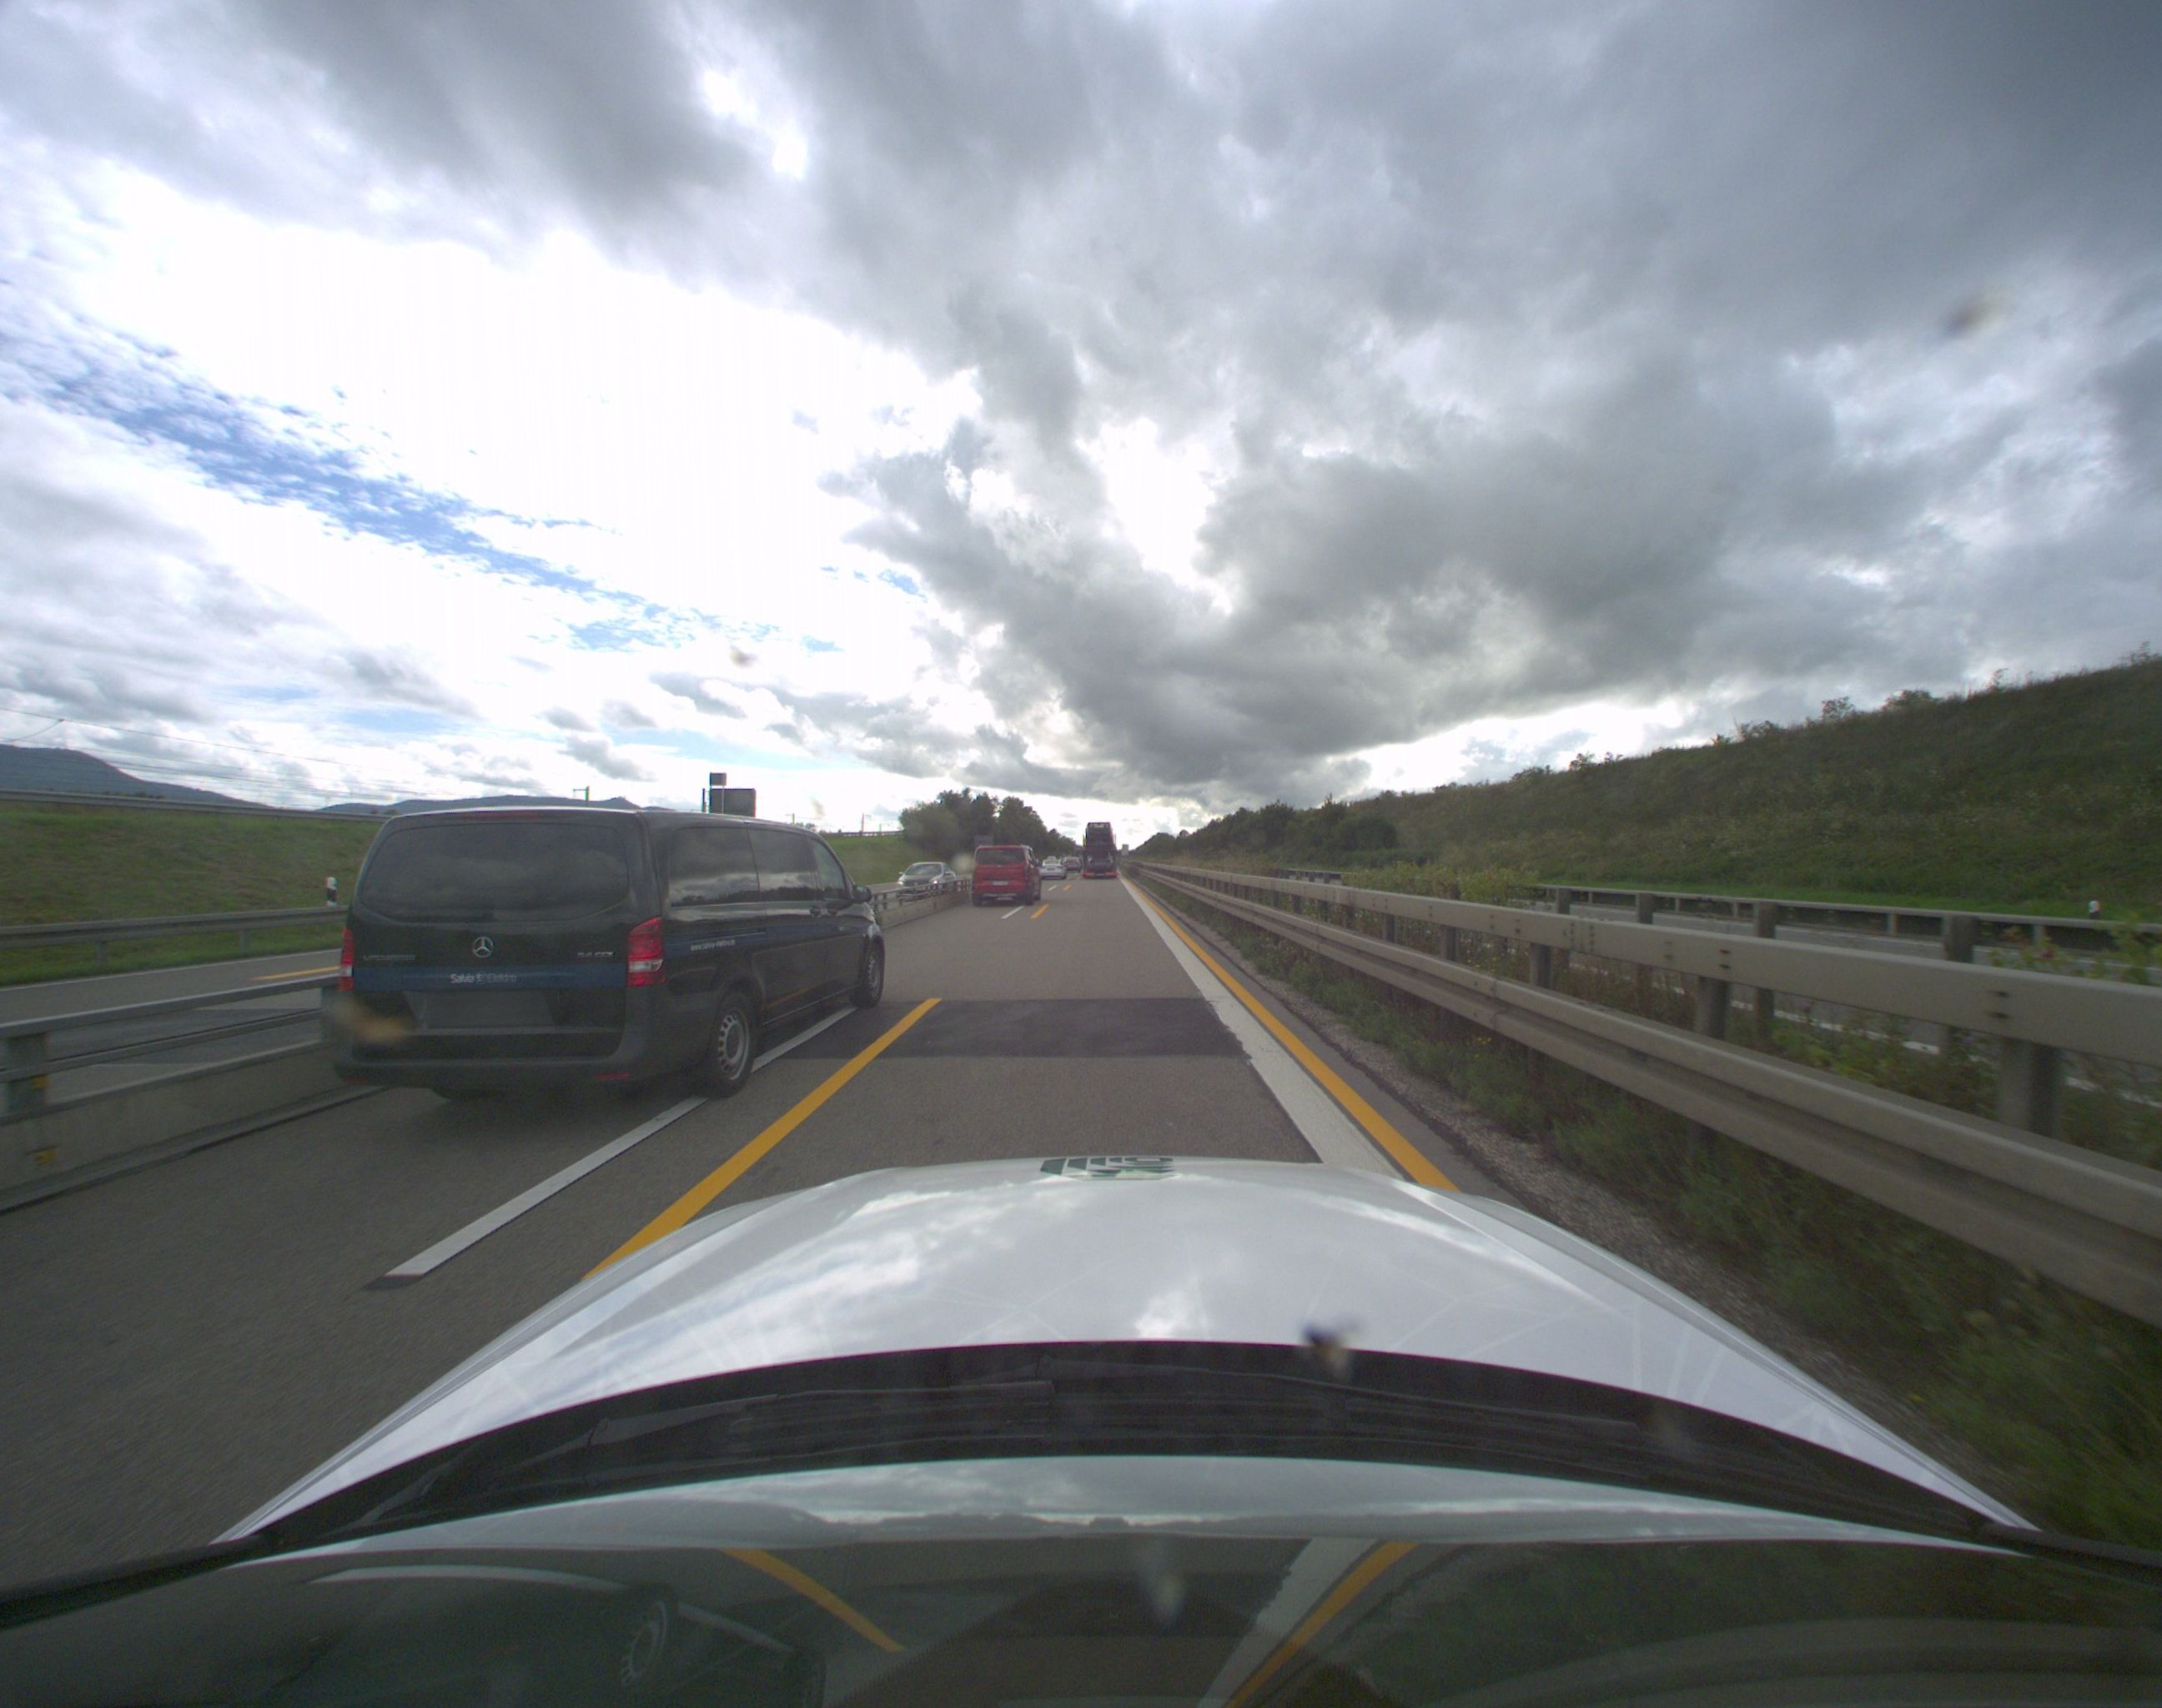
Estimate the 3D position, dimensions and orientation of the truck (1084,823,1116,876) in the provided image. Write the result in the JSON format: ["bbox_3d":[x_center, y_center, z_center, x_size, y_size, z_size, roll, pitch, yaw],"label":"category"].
[{"bbox_3d":[1.603,-0.329,66.538,2.505,4.105,5.688,-1,-1,2],"label":"truck"}]

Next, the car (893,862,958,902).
[{"bbox_3d":[-5.987,1.049,31.829,1.752,1.388,3.999,-1,0,0],"label":"car"}]

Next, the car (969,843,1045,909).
[{"bbox_3d":[-2.444,0.709,27.974,2.023,2.014,4.579,-1,0,2],"label":"car"}]

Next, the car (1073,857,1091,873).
[{"bbox_3d":[0.144,1.311,98.581,2.024,1.757,4.578,-1,0,1],"label":"car"}]

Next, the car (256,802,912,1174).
[{"bbox_3d":[-3.124,0.698,6.951,1.986,1.843,5.611,-1,0,2],"label":"car"}]

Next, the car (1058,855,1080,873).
[{"bbox_3d":[-1.217,0.989,83.810,2.024,1.757,4.578,-1,0,1],"label":"car"}]

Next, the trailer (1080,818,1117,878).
[{"bbox_3d":[1.418,-0.365,61.714,2.505,4.105,11.119,-1,0,2],"label":"trailer"}]

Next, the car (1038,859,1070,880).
[{"bbox_3d":[-1.877,1.089,58.631,2.024,1.431,4.578,-1,0,1],"label":"car"}]
